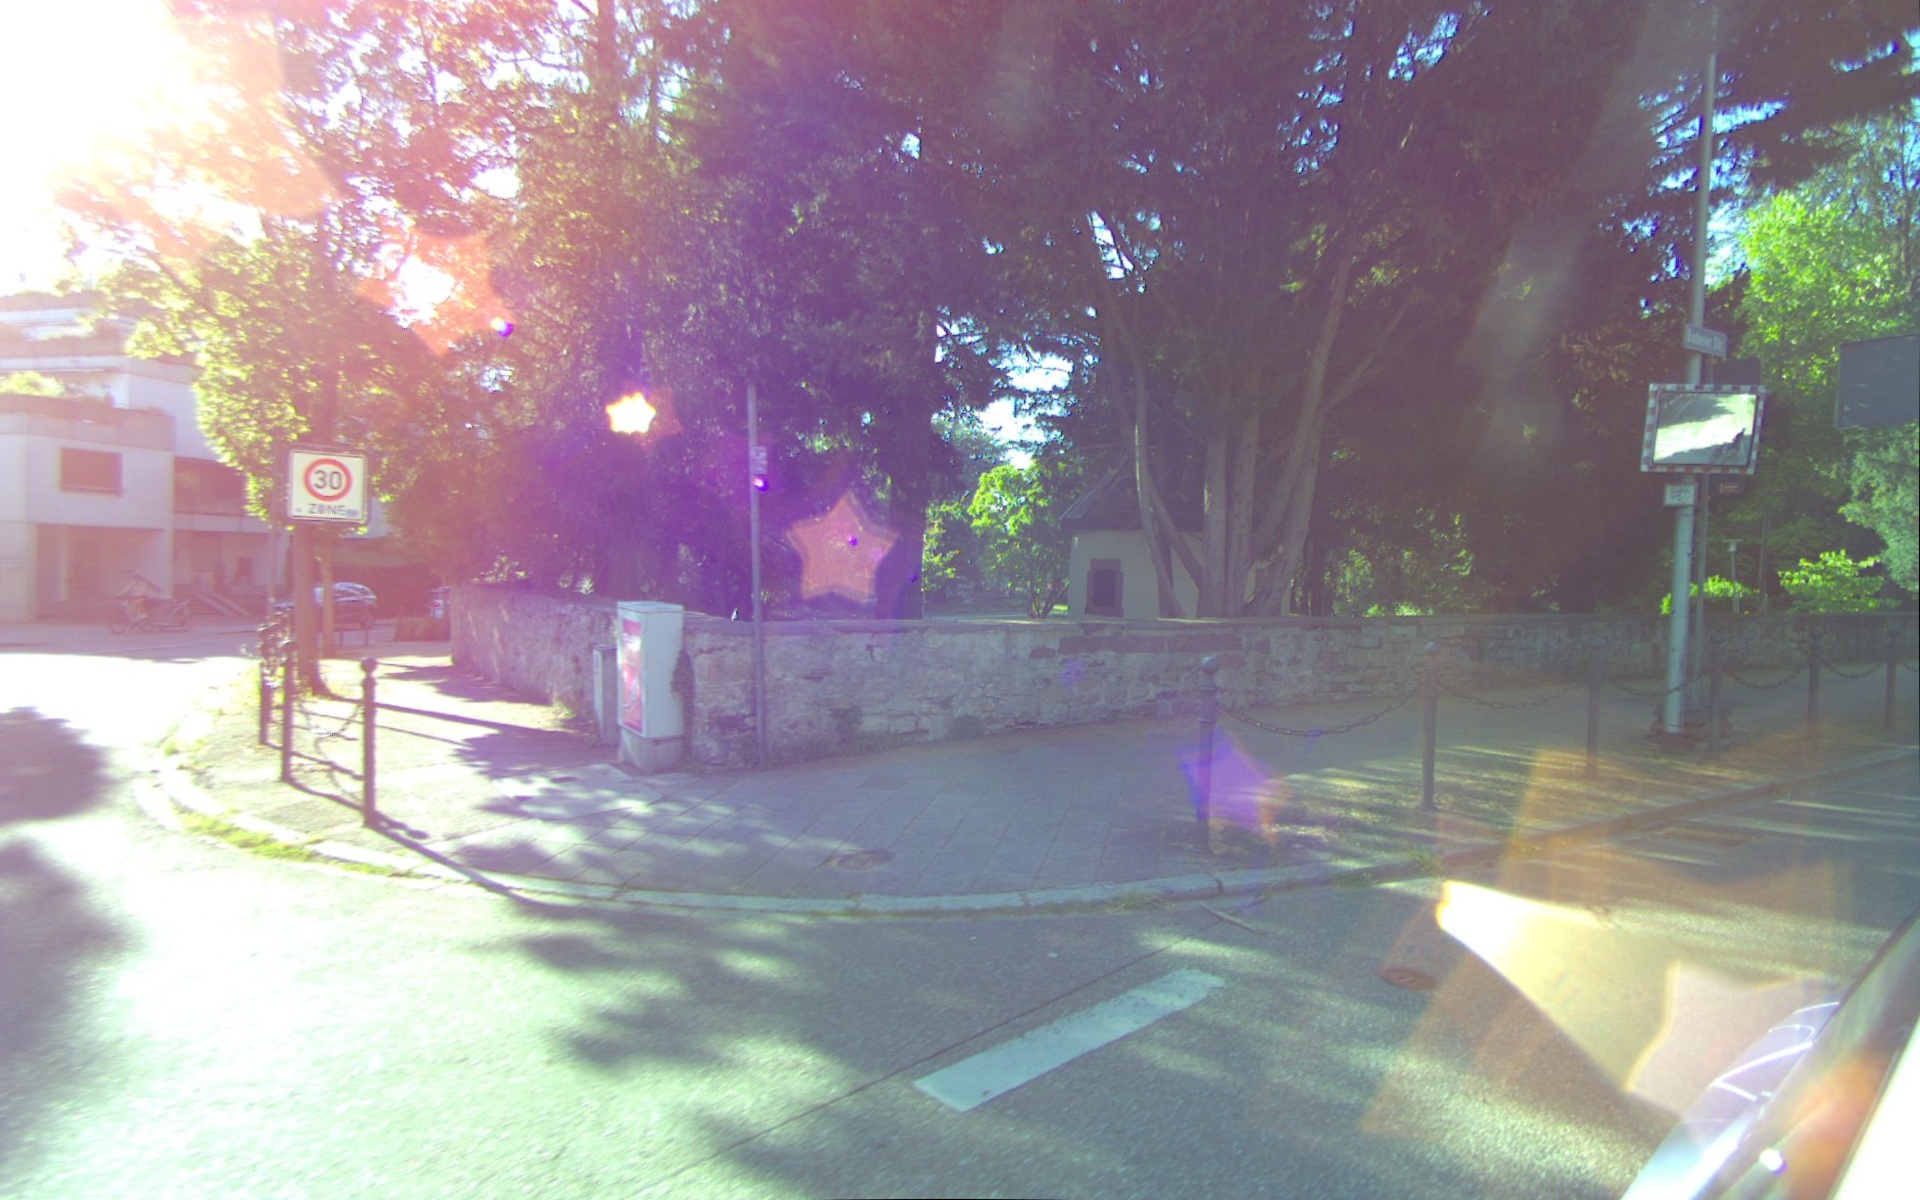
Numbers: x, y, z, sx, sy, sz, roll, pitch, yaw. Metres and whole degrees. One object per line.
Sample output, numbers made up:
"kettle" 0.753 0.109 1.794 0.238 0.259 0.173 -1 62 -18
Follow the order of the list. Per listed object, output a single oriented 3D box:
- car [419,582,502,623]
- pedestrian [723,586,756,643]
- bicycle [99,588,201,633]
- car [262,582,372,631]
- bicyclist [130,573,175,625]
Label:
"car" -19.783 0.053 40.226 1.801 1.542 3.920 0 1 -8
"pedestrian" -5.811 0.372 26.676 0.662 1.470 0.602 0 0 -34
"bicycle" -24.365 0.288 30.529 0.749 1.222 2.843 5 1 -1
"car" -22.528 0.187 35.629 1.800 1.605 4.029 0 1 -9
"bicyclist" -24.339 -0.032 30.509 0.746 1.503 0.644 4 0 -1
